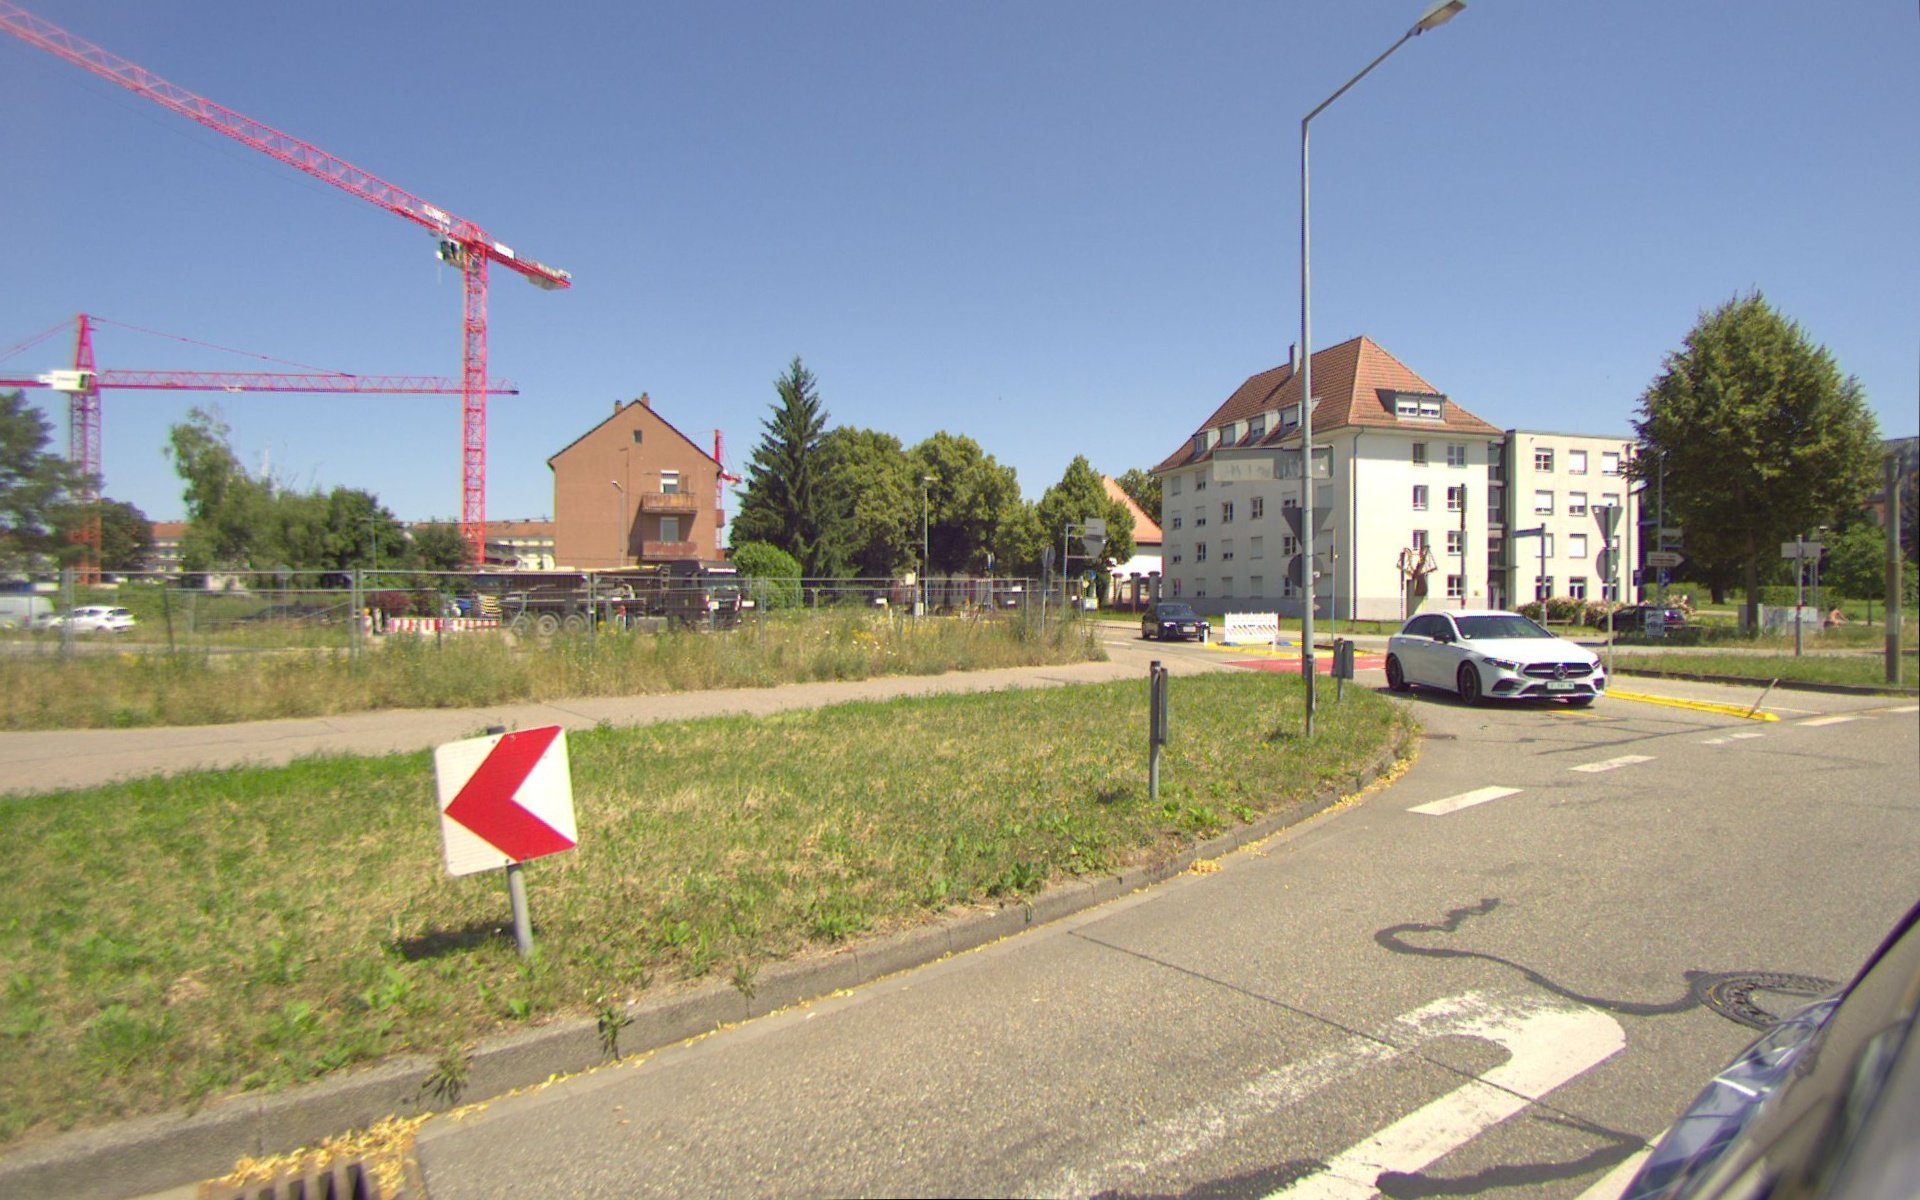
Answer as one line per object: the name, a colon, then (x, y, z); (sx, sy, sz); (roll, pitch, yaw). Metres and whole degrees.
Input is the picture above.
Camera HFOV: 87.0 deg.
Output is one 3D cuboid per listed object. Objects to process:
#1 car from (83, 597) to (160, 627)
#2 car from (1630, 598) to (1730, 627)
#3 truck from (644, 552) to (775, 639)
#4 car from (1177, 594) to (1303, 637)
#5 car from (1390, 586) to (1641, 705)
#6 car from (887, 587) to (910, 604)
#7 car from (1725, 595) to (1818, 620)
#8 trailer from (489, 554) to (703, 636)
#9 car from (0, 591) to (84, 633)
car: (-41.976, 0.588, 50.672); (2.739, 1.423, 1.418); (1, 2, 3)
car: (34.854, 0.599, 49.105); (1.625, 1.343, 3.815); (0, 0, -15)
truck: (-11.016, -0.211, 44.476); (4.927, 3.577, 3.128); (0, 0, 33)
car: (10.509, 0.539, 38.341); (1.766, 1.469, 4.621); (-2, 1, -31)
car: (8.498, 0.616, 15.936); (1.748, 1.565, 3.962); (-2, 0, 1)
car: (-7.012, -0.543, 114.532); (1.654, 1.791, 4.215); (2, 1, -17)
car: (40.678, 0.351, 50.806); (1.328, 1.233, 3.521); (0, 0, -15)
trailer: (-16.636, -0.252, 46.502); (8.843, 3.577, 3.157); (0, 0, 9)
car: (-47.104, 0.587, 50.786); (4.589, 2.039, 1.786); (0, 0, -5)
